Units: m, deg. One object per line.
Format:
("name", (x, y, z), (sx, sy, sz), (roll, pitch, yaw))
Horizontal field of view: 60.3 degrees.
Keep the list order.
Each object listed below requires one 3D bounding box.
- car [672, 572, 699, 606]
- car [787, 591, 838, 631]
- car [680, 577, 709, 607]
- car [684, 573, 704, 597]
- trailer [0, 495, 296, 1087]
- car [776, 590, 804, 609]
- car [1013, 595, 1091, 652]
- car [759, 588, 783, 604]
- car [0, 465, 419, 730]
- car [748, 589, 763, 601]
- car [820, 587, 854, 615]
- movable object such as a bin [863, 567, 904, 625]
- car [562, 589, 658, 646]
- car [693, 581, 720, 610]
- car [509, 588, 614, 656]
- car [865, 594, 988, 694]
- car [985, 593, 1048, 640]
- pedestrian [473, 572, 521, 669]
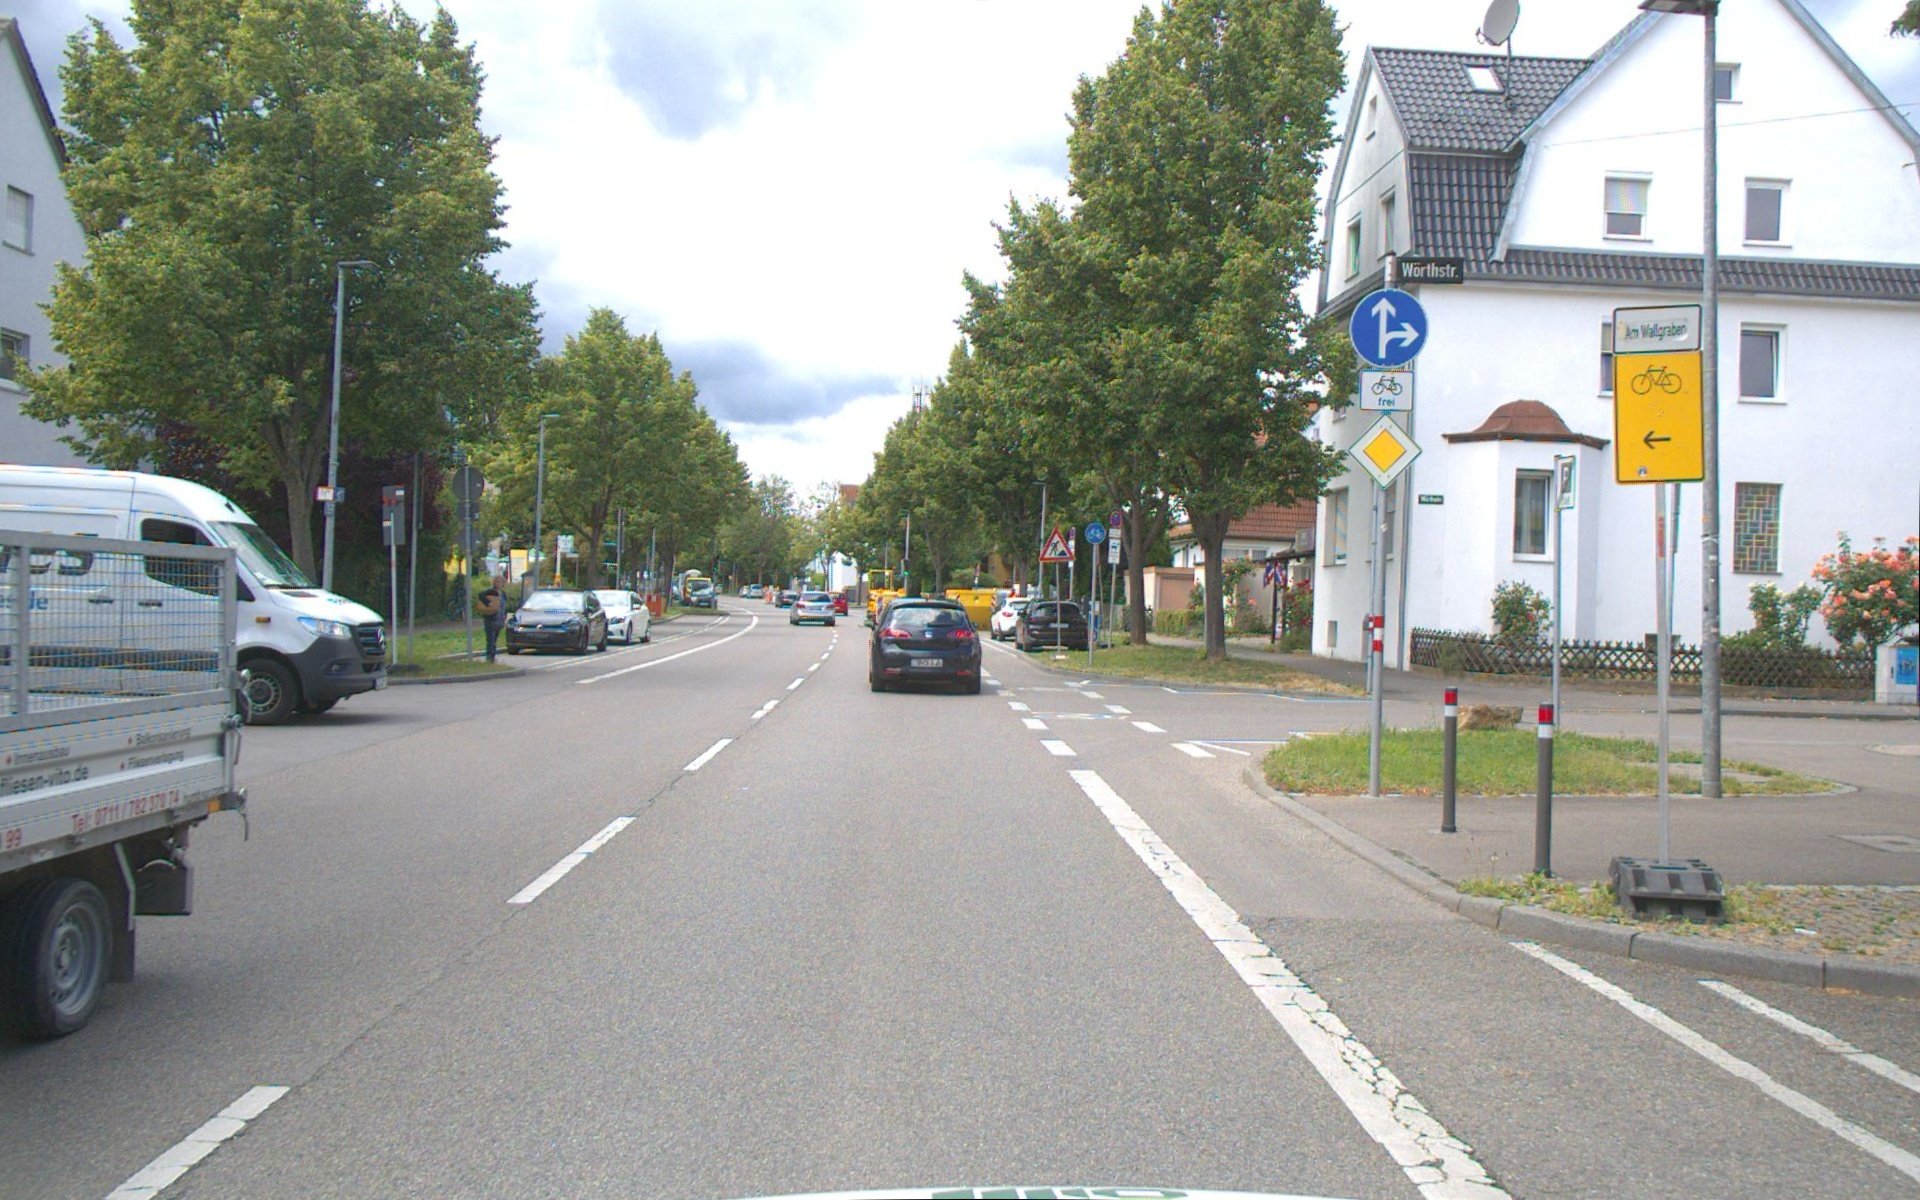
("car", (-22.637, -0.924, 136.380), (2.054, 2.672, 5.032), (1, 0, -10))
("car", (-6.537, 0.459, 72.936), (1.871, 1.715, 3.730), (1, 0, -11))
("car", (-20.293, -0.631, 126.202), (2.054, 2.213, 5.032), (1, 0, -10))
("car", (-31.226, -1.767, 194.053), (2.246, 2.840, 7.127), (0, 0, -9))
("trailer", (-3.699, 0.531, 4.617), (1.899, 1.706, 4.686), (1, 0, -2))
("car", (-13.486, -0.038, 130.959), (1.778, 1.399, 3.681), (1, 0, -13))
("car", (2.513, 0.627, 46.230), (1.671, 1.480, 4.613), (1, 0, -3))
("car", (-18.151, -0.408, 158.733), (1.779, 1.440, 3.680), (1, 0, -13))
("car", (-9.827, -0.062, 17.930), (7.147, 2.639, 2.218), (1, 0, -6))
("car", (-24.756, -0.620, 199.827), (1.776, 1.440, 3.687), (1, 0, -8))
("car", (-7.565, 0.049, 101.459), (1.758, 1.651, 3.731), (1, 0, -10))
("movable object such as a bin", (-3.619, -0.206, 77.702), (1.733, 2.619, 3.737), (1, 0, -4))
("car", (-9.358, 0.454, 44.563), (1.679, 1.431, 4.300), (1, 0, 0))
("car", (-16.023, -0.312, 104.334), (1.637, 1.803, 4.458), (0, 0, -10))
("car", (-9.078, 0.471, 37.928), (1.610, 1.445, 4.018), (1, 0, -3))
("car", (-0.604, 0.653, 26.659), (1.783, 1.463, 3.737), (1, 0, -4))
("car", (1.879, 0.539, 55.984), (1.639, 1.488, 3.996), (1, 0, -5))
("pedestrian", (-8.369, 0.356, 29.916), (0.531, 1.710, 0.751), (3, 1, 6))
